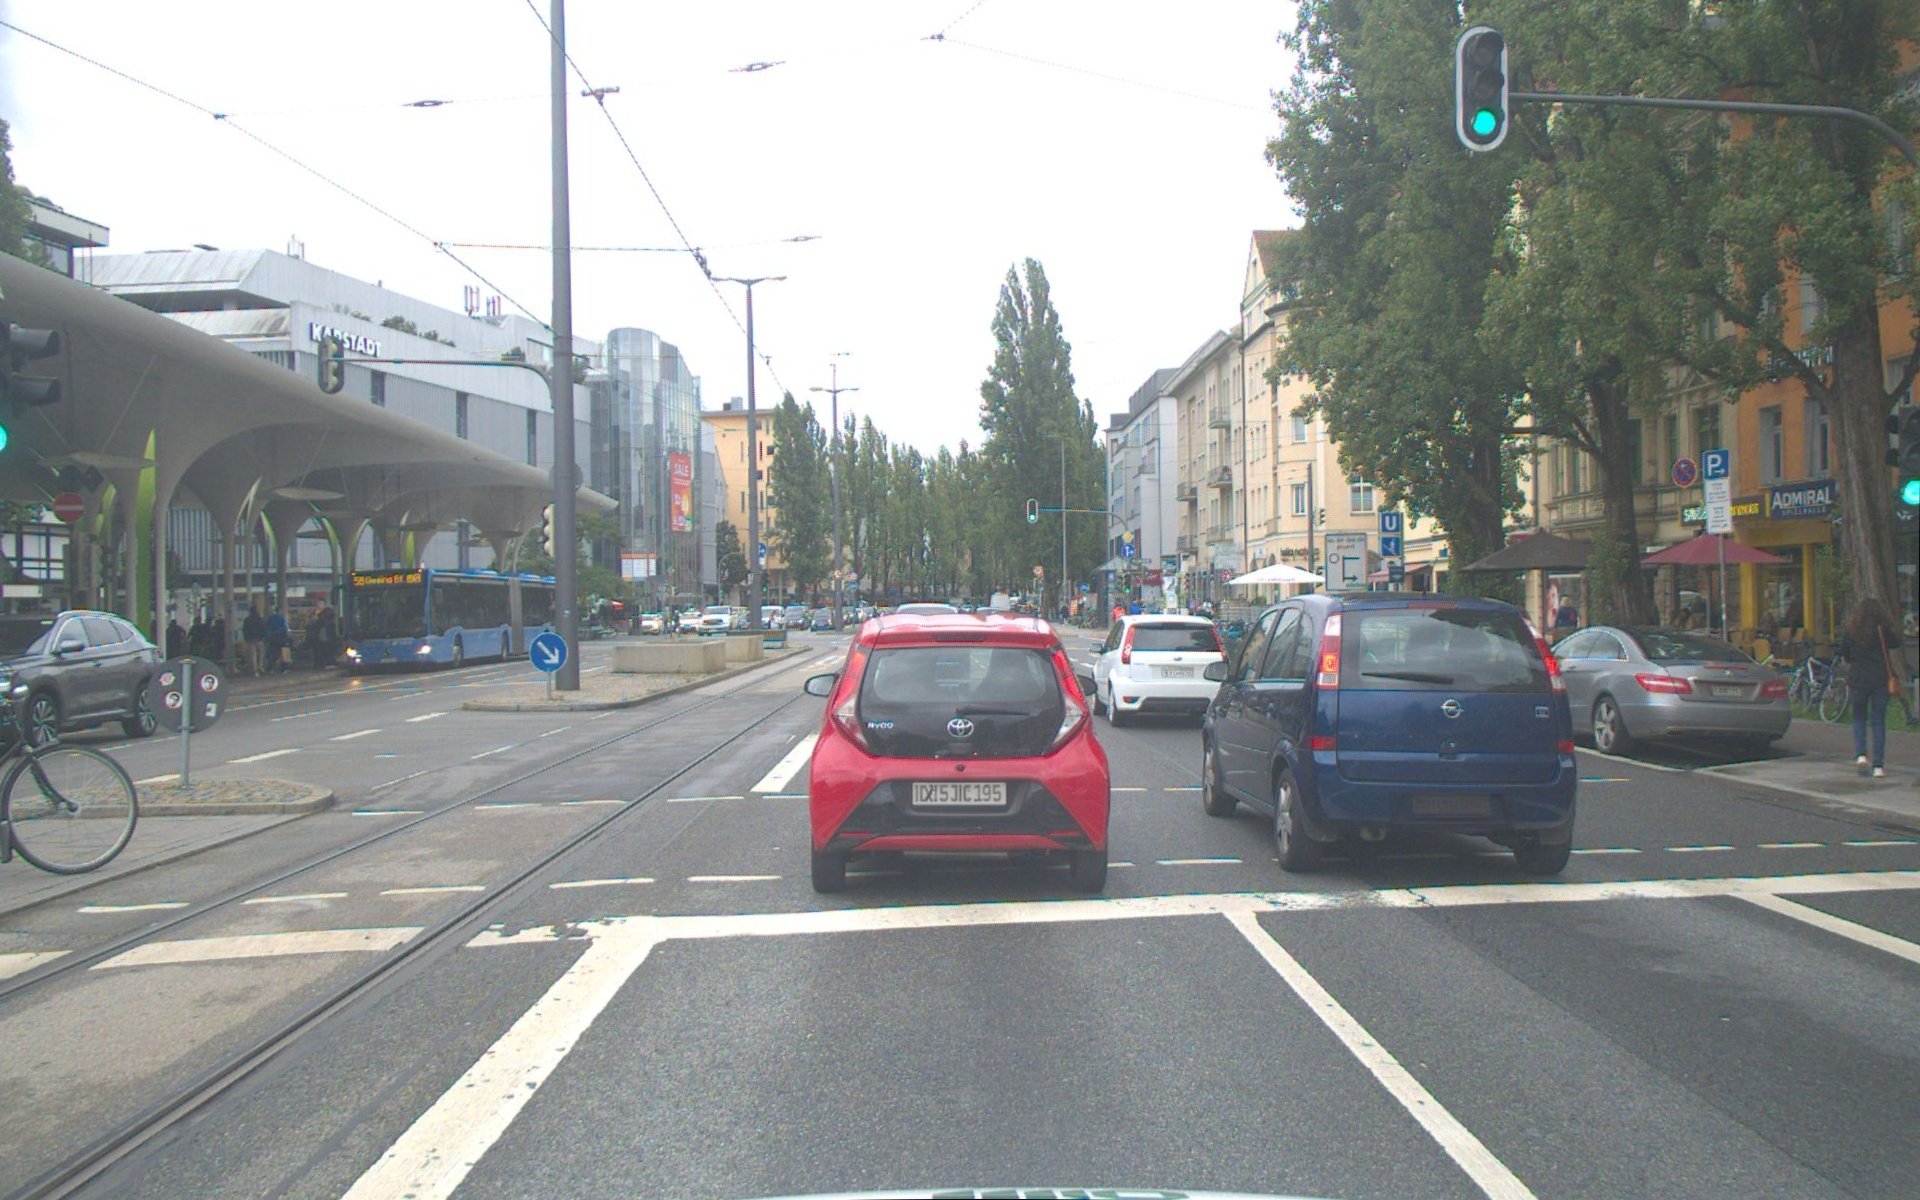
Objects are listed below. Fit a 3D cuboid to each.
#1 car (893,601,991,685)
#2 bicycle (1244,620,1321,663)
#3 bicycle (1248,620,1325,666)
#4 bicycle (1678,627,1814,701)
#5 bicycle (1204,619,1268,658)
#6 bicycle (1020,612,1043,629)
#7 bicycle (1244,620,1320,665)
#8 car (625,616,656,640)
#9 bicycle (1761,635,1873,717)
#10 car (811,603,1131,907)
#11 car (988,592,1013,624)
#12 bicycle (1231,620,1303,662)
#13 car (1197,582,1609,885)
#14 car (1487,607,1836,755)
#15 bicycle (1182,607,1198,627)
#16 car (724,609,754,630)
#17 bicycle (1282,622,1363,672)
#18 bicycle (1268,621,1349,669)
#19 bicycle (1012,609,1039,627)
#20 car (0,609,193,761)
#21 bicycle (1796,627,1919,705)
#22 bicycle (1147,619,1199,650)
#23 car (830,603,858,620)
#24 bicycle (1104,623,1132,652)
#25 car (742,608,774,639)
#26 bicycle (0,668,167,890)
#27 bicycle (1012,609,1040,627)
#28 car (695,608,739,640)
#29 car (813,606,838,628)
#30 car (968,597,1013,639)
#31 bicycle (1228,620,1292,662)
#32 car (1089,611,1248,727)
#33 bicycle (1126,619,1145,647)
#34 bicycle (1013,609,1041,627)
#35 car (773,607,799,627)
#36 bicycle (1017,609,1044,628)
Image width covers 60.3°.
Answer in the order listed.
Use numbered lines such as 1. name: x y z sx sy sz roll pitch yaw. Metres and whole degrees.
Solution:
1. car: -0.403 0.869 35.305 1.953 1.646 3.999 -1 0 -1
2. bicycle: 7.891 1.013 40.502 1.799 1.013 0.375 0 1 23
3. bicycle: 7.703 1.008 39.076 1.806 1.013 0.374 1 1 37
4. bicycle: 11.846 0.961 24.948 1.850 1.072 0.458 -1 0 -4
5. bicycle: 7.660 1.060 45.937 1.805 1.013 0.324 1 1 36
6. bicycle: 4.457 1.257 103.152 0.495 1.046 1.576 -1 0 -43
7. bicycle: 7.746 1.011 39.824 1.806 1.013 0.374 1 1 37
8. car: -22.275 1.937 115.290 1.959 1.563 4.400 -2 1 -13
9. bicycle: 11.112 0.971 21.499 0.577 0.982 1.653 -1 0 -1
10. car: 0.062 0.781 9.838 1.572 1.487 3.130 1 0 0
11. car: 3.628 0.729 150.366 2.064 2.766 4.803 -1 0 0
12. bicycle: 7.654 1.014 41.241 1.806 1.013 0.324 1 1 37
13. car: 2.636 0.720 10.670 1.668 1.617 3.555 0 0 -1
14. car: 7.967 0.846 19.335 1.954 1.465 4.526 -1 0 -3
15. bicycle: 13.122 0.959 94.536 0.485 1.077 1.864 -1 0 -5
16. car: -15.780 1.373 118.257 1.639 1.403 4.611 -1 0 -2
17. bicycle: 7.802 1.000 35.650 1.811 1.013 0.373 1 1 45
18. bicycle: 7.800 1.004 37.081 1.806 1.013 0.374 1 1 38
19. bicycle: 4.281 1.193 108.211 1.765 1.178 0.486 -1 0 29
20. car: -11.522 1.001 20.636 1.826 1.667 4.676 -3 0 -2
21. bicycle: 13.676 0.997 25.032 1.850 1.133 0.458 -1 -1 -4
22. bicycle: 7.197 1.179 56.041 1.807 1.013 0.346 -2 -1 39
23. car: -10.515 1.035 150.679 1.952 1.436 4.169 3 0 3
24. bicycle: 7.323 1.741 76.883 0.603 1.287 2.513 -1 0 -10
25. car: -13.250 1.518 108.435 1.750 1.887 4.215 -2 0 -3
26. bicycle: -5.538 0.975 8.944 2.203 1.170 0.500 1 -1 -33
27. bicycle: 4.266 1.164 106.741 1.769 1.178 0.546 -1 0 37
28. car: -15.528 1.500 105.803 2.132 1.920 6.153 -1 0 -3
29. car: -9.296 1.150 114.564 1.514 1.471 3.537 -1 0 -2
30. car: 1.411 0.839 78.391 1.953 1.870 3.999 -1 0 -1
31. bicycle: 7.767 1.056 42.910 0.322 1.013 1.813 -1 1 -43
32. car: 2.799 0.893 22.841 1.665 1.451 3.496 1 0 -1
33. bicycle: 8.630 1.602 81.294 0.601 1.287 2.519 -1 0 -2
34. bicycle: 4.357 1.169 107.552 1.763 1.178 0.486 -1 0 25
35. car: -12.818 1.257 122.127 1.644 1.420 4.230 -1 0 -3
36. bicycle: 4.440 1.169 104.668 1.773 1.219 0.555 -1 0 43
